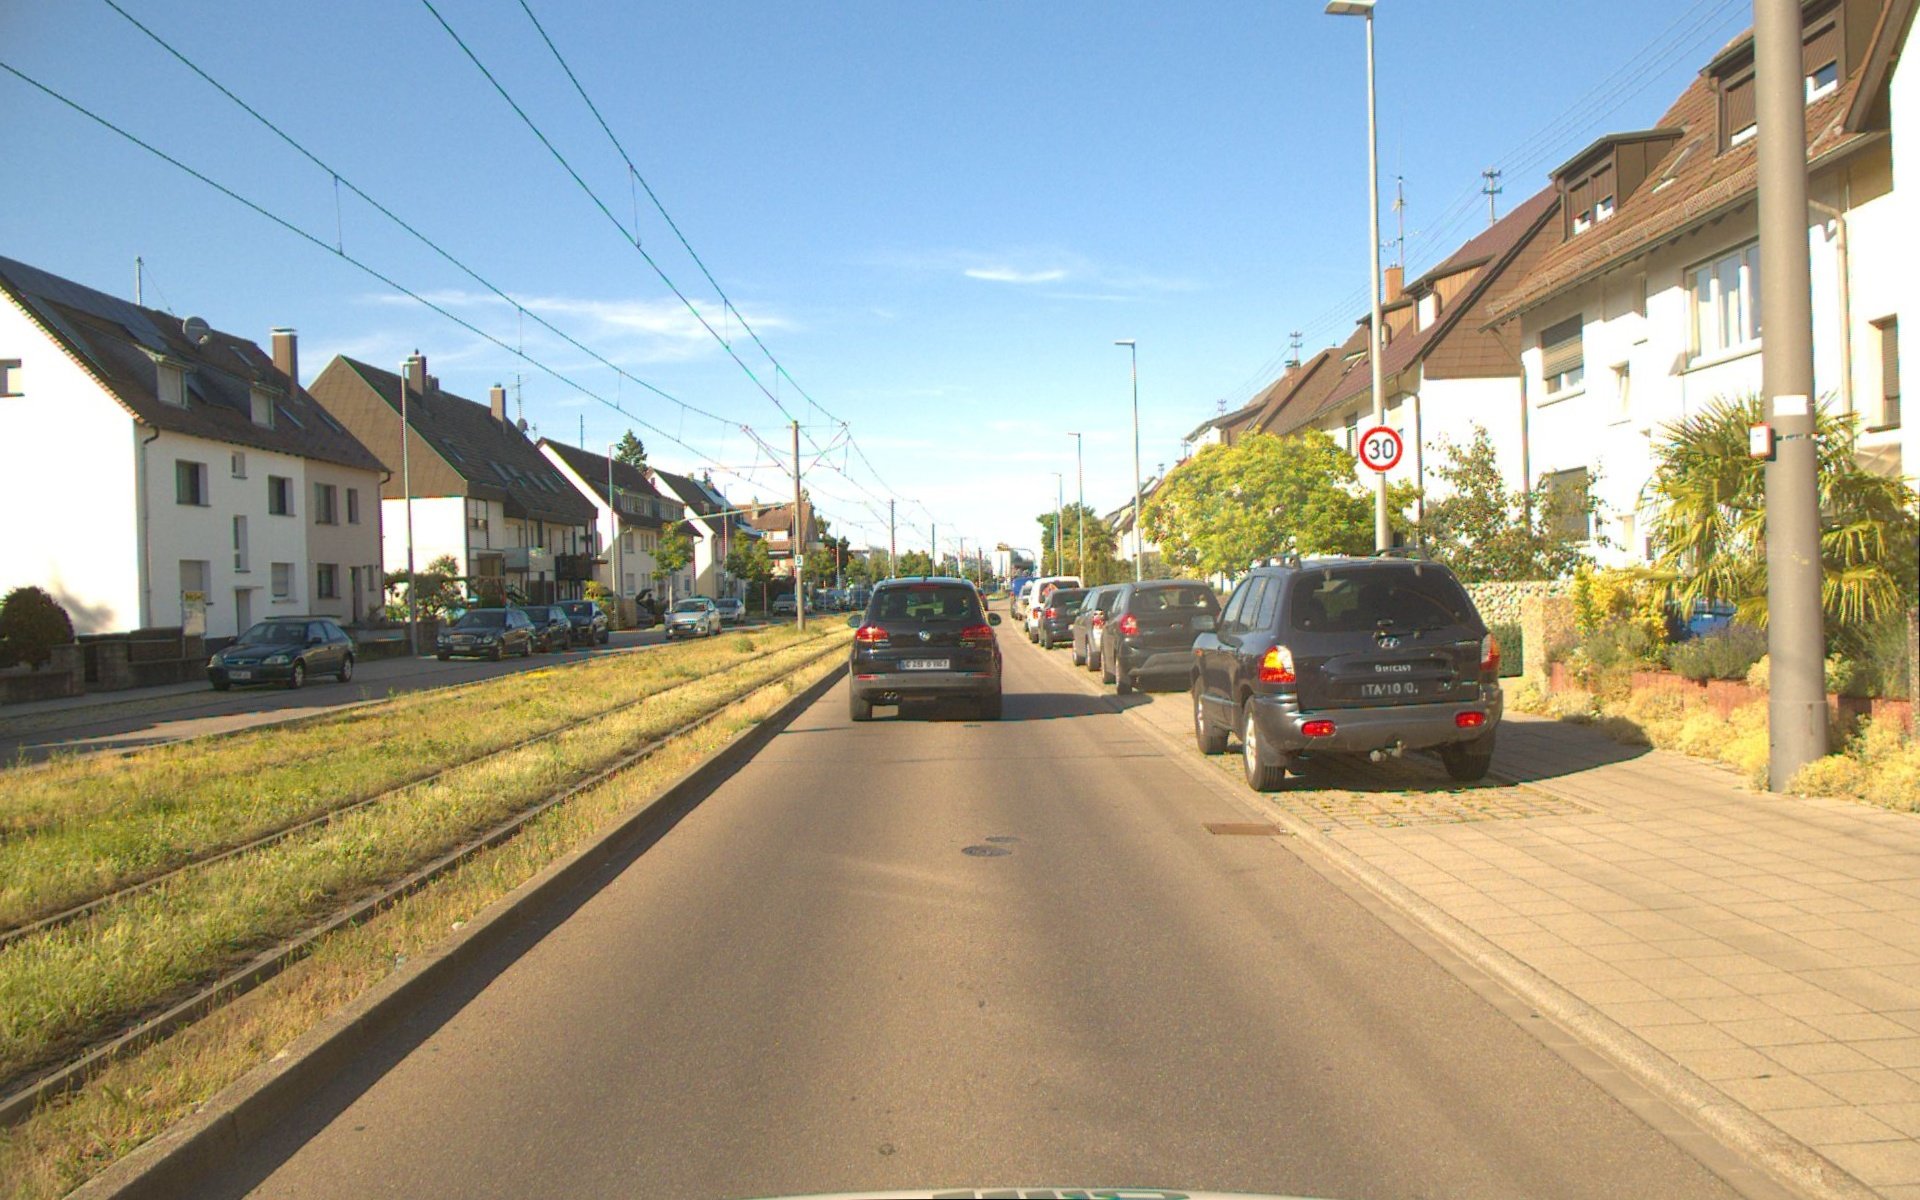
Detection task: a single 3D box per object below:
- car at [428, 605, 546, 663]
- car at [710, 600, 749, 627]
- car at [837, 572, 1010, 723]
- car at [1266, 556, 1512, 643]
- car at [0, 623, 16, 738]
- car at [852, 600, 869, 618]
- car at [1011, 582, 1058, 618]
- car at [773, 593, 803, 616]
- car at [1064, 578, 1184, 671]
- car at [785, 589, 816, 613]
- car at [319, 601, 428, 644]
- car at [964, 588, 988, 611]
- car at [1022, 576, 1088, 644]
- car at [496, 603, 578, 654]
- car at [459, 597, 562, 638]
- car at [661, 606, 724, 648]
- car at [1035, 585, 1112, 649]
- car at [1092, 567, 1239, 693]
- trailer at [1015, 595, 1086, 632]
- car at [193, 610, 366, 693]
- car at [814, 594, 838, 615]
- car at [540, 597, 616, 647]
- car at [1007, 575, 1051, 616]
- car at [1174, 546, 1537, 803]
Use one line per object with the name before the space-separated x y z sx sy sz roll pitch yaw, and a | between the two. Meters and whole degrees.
car | -13.833 0.963 48.668 1.837 1.549 4.882 -1 0 3
car | -13.032 0.785 93.746 1.585 1.433 3.717 -2 -1 1
car | -0.569 0.542 20.839 1.777 1.700 4.251 0 0 -7
car | 8.201 0.010 32.113 1.969 1.470 4.843 -3 1 -25
car | -13.777 1.134 20.466 1.658 1.544 4.215 -2 0 1
car | -9.723 0.868 162.025 1.435 1.706 3.287 -2 0 1
car | 3.373 -0.001 75.120 1.750 1.466 4.458 -4 0 -1
car | -12.152 0.298 116.889 1.625 1.523 3.580 -2 0 1
car | 2.916 0.411 30.179 1.583 1.501 4.448 -2 0 -2
car | -11.862 0.086 123.047 1.766 1.660 4.001 -2 1 1
car | -25.937 0.990 73.201 4.071 1.683 1.858 -2 0 3
car | 1.077 -0.047 110.820 1.540 1.415 3.614 -2 0 0
car | 2.725 0.263 48.147 1.655 1.807 4.656 -2 0 1
car | -13.768 0.911 54.046 1.489 1.500 4.201 -2 1 1
car | -19.938 0.779 73.451 4.083 1.645 1.758 -2 0 -4
car | -10.323 1.051 64.101 1.673 1.516 4.024 -2 -1 1
car | 2.840 0.407 41.968 1.637 1.478 4.126 -2 0 0
car | 2.916 0.383 24.132 1.632 1.574 3.836 -4 0 1
trailer | 3.148 0.443 58.271 2.159 1.112 4.371 -4 0 0
car | -13.929 1.010 34.132 1.753 1.488 4.167 -2 0 1
car | -11.260 0.403 139.253 1.626 1.608 4.000 -2 -1 1
car | -13.702 0.773 59.567 1.767 1.625 4.809 -2 1 -3
car | 3.373 -0.240 81.494 1.953 1.894 4.918 -2 0 1
car | 3.011 0.493 13.592 1.816 1.688 4.473 -2 0 -1
